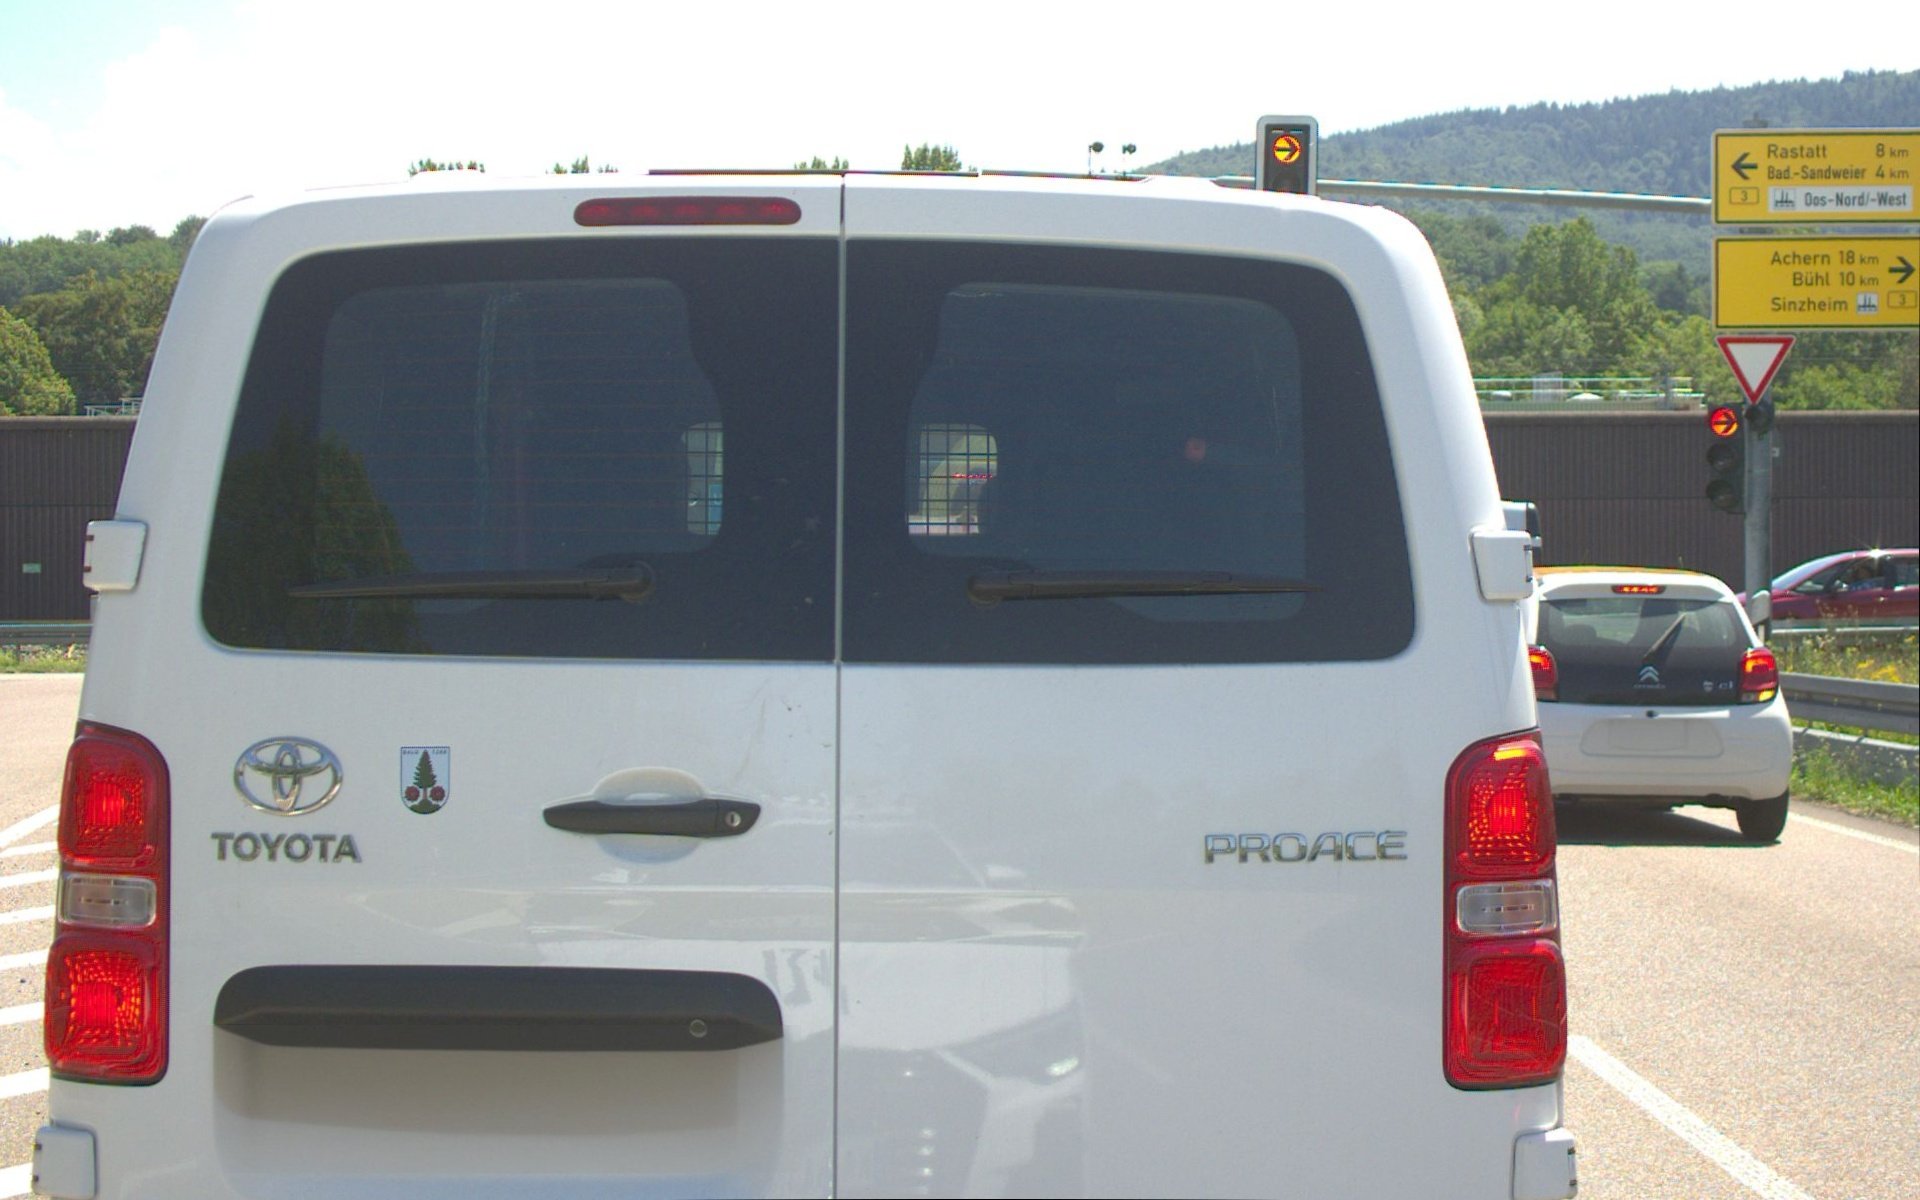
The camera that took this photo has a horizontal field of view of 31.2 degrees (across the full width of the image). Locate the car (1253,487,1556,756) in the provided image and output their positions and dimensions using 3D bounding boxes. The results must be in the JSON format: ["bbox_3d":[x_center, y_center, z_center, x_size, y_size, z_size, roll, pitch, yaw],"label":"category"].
[{"bbox_3d":[3.542,0.135,28.214,1.928,1.993,4.837,1,1,1],"label":"car"}]

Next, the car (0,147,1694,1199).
[{"bbox_3d":[-0.209,0.448,5.671,1.886,1.880,4.000,1,1,-1],"label":"car"}]

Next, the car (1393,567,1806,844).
[{"bbox_3d":[3.548,0.534,19.618,1.656,1.426,3.366,1,1,-1],"label":"car"}]

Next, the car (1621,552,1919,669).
[{"bbox_3d":[11.967,0.140,49.837,4.309,1.651,2.000,0,1,-3],"label":"car"}]
